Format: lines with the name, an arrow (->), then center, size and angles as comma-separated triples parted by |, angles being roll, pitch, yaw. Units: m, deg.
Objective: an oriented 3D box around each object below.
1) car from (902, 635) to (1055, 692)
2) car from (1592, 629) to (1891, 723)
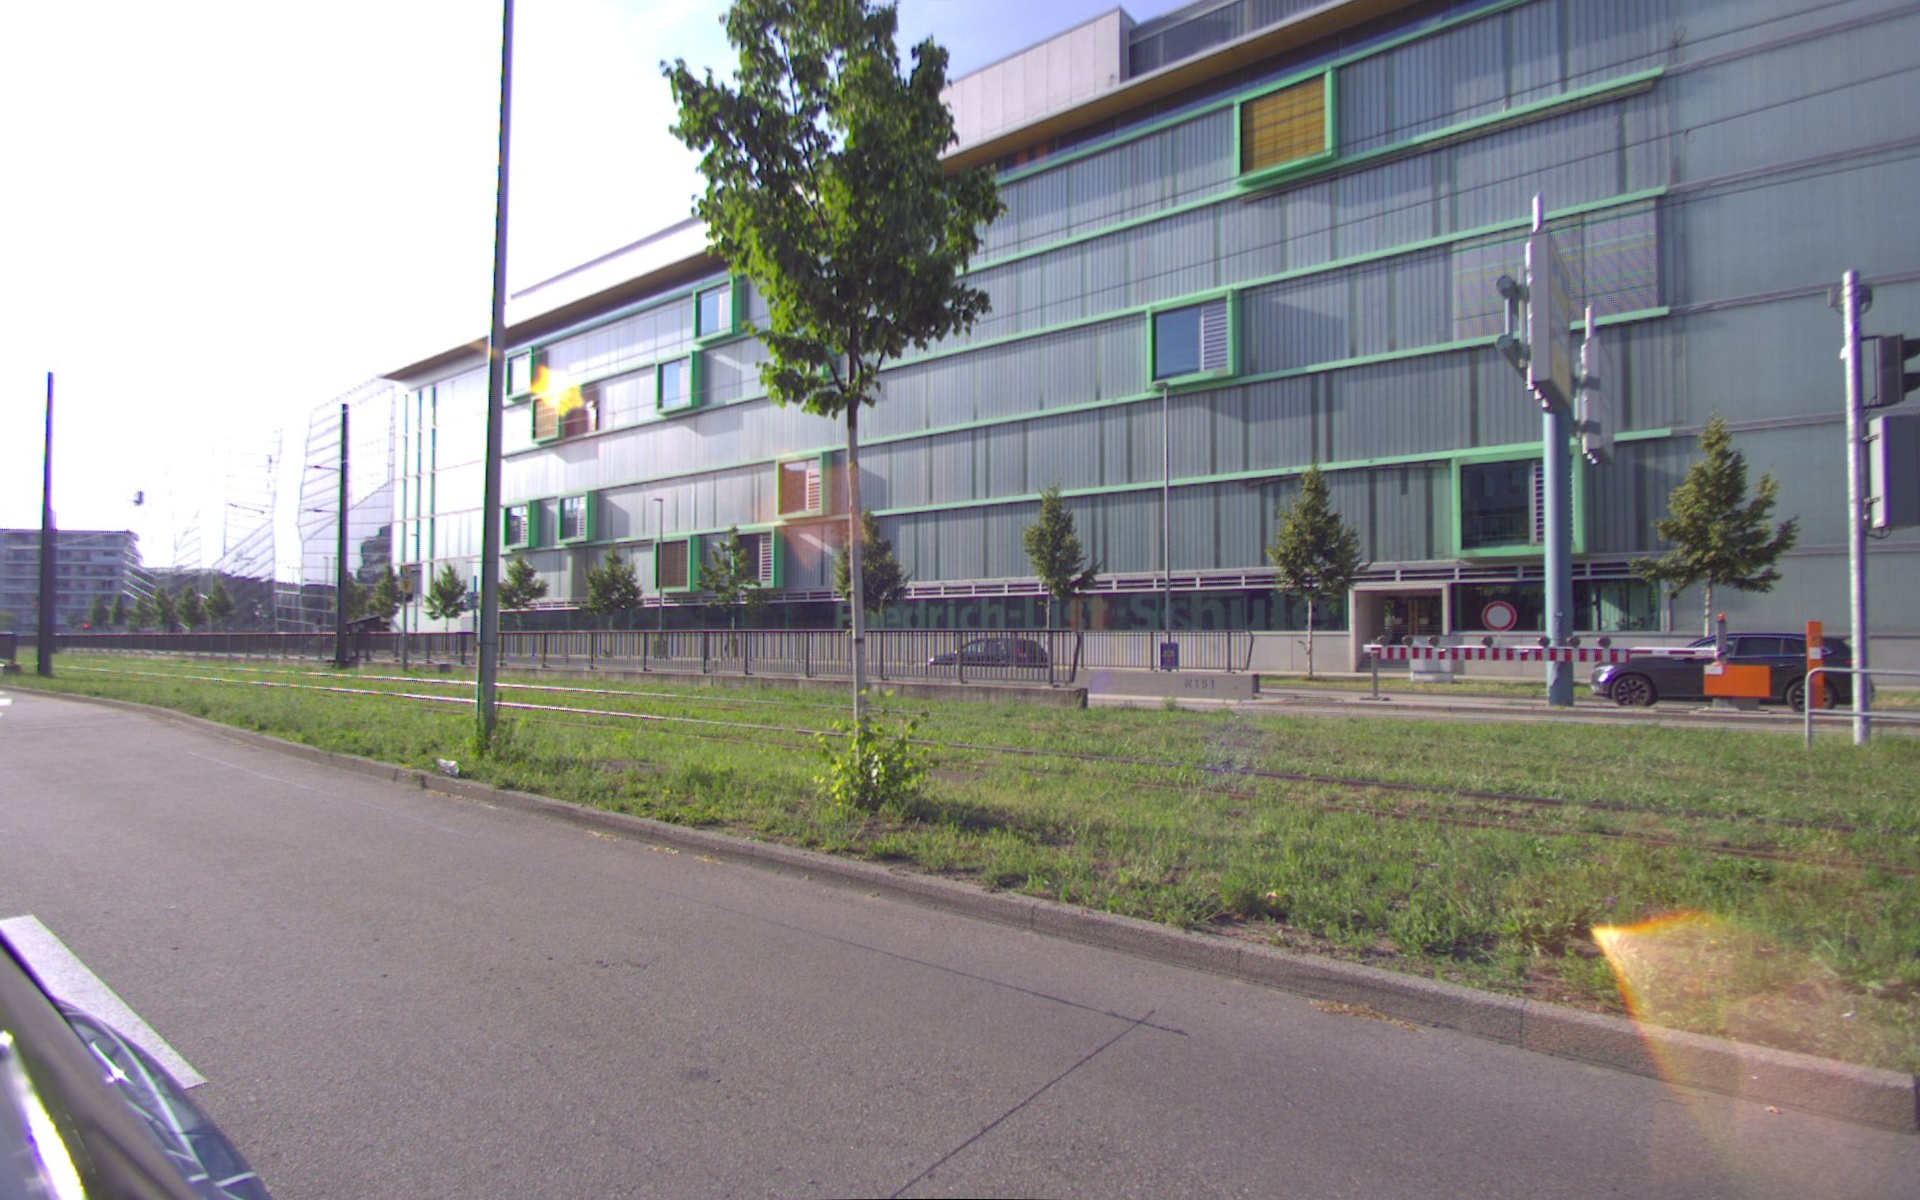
car -> 0.549, 2.003, 32.544 | 4.720, 1.700, 1.974 | -2, -3, 38
car -> 15.743, 1.485, 20.670 | 4.610, 1.700, 1.974 | -2, -3, 38
